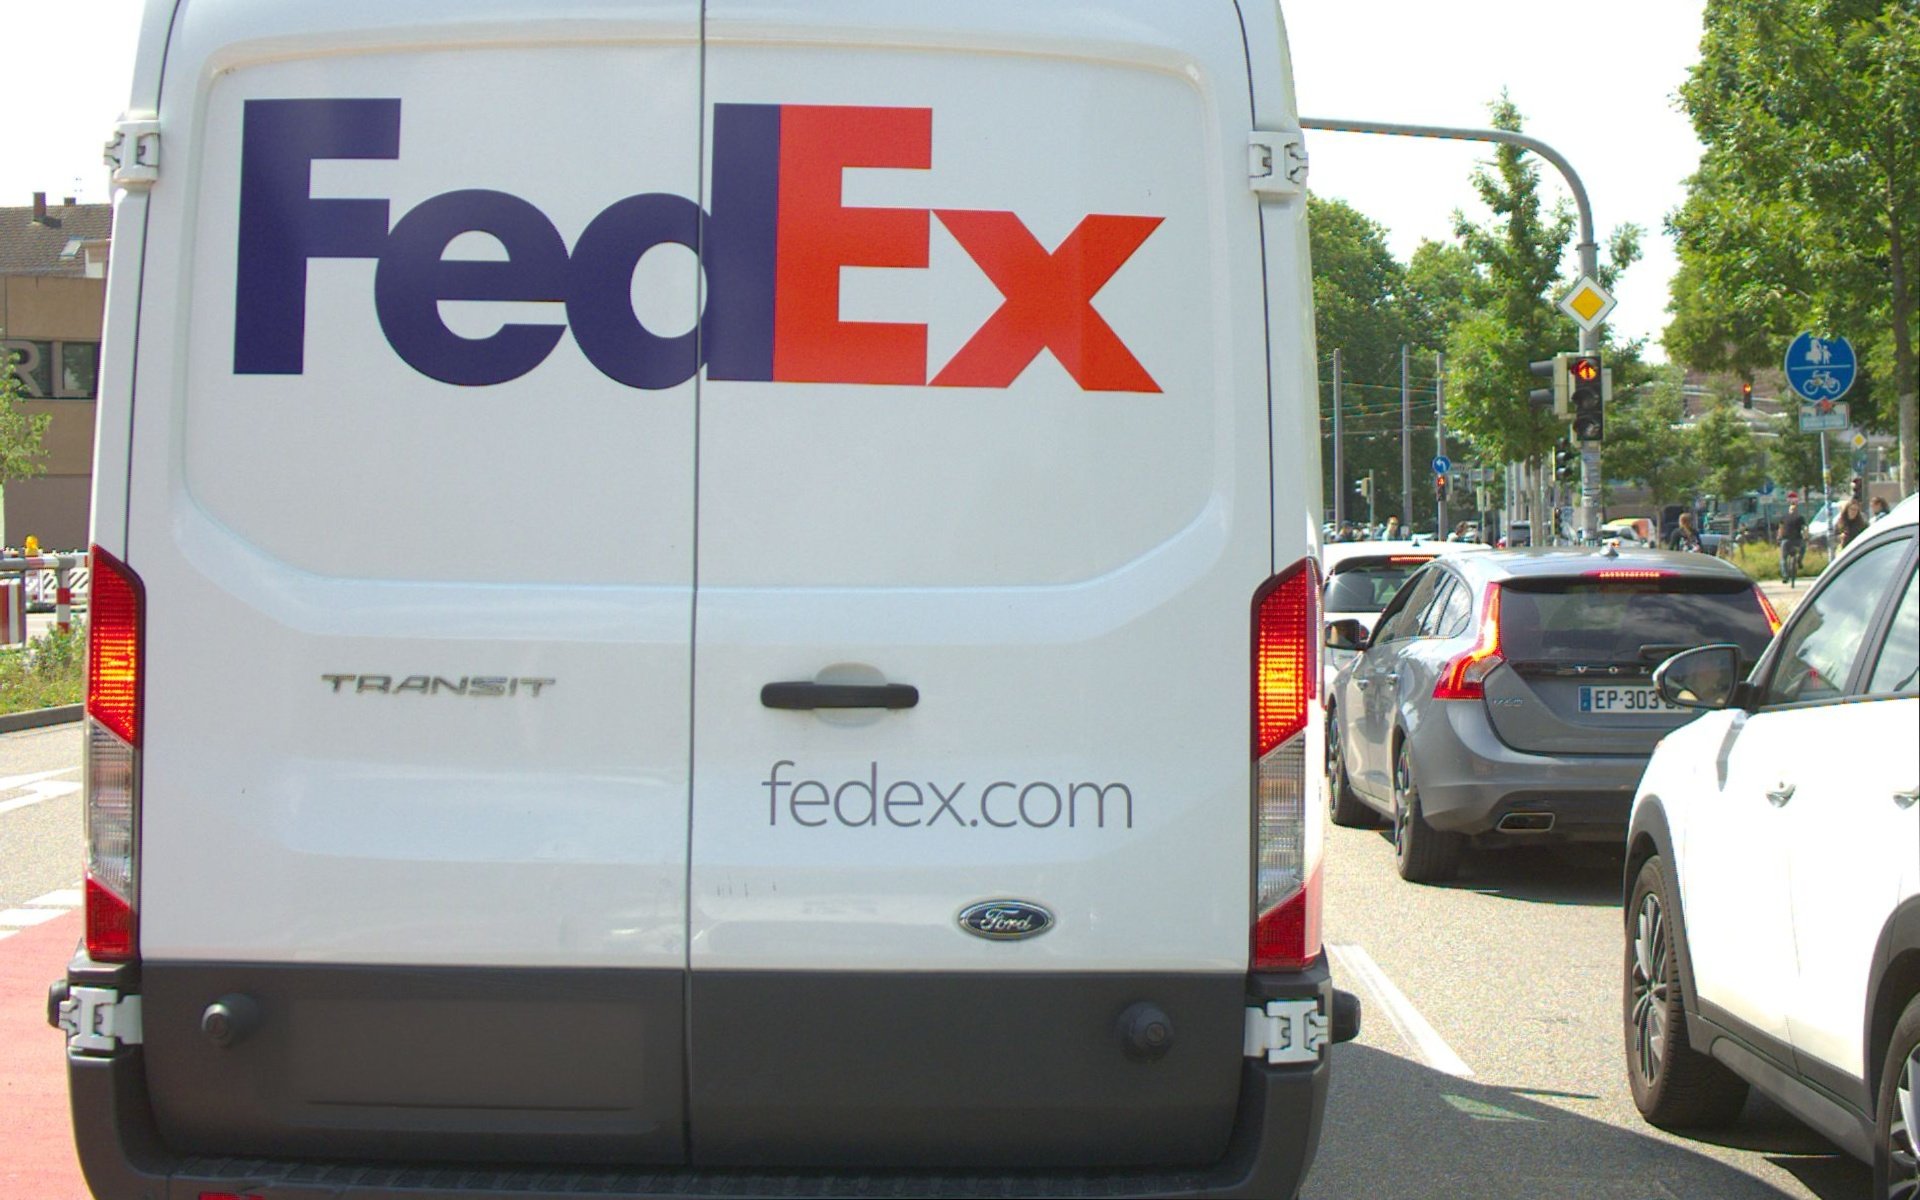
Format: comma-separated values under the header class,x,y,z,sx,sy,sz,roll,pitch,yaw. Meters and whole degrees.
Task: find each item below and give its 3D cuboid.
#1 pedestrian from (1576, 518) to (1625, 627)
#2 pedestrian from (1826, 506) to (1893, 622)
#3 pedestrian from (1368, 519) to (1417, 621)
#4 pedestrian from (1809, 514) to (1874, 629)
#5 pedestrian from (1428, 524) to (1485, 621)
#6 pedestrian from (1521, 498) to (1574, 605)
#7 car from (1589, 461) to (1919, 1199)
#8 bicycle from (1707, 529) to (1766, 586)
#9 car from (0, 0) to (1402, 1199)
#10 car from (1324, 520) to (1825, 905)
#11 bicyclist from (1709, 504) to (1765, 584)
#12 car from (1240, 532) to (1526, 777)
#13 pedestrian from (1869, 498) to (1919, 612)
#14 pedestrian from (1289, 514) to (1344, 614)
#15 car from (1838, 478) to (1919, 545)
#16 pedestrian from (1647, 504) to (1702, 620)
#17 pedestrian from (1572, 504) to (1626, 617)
class,x,y,z,sx,sy,sz,roll,pitch,yaw
pedestrian,11.002,-0.473,59.054,0.759,1.843,0.816,0,1,15
pedestrian,14.517,-0.590,55.472,0.758,1.843,0.816,-1,1,-10
pedestrian,7.940,-0.554,63.152,0.758,1.843,0.816,-1,1,-3
pedestrian,12.862,-0.426,50.188,0.759,1.649,0.816,-1,1,3
pedestrian,9.540,-0.537,66.028,0.758,1.843,0.816,-1,1,-22
pedestrian,10.236,-0.848,59.956,0.813,1.843,0.761,0,1,3
car,2.562,0.557,7.200,1.814,1.673,3.974,0,1,1
bicycle,21.341,-1.181,94.391,1.426,1.459,4.308,0,2,15
car,-0.367,0.070,7.186,2.072,2.572,4.428,0,1,1
car,2.695,0.414,15.834,1.691,1.543,3.720,0,1,1
bicyclist,21.311,-1.554,94.273,1.433,2.164,1.338,0,1,15
car,2.716,0.298,22.643,1.499,1.459,3.474,0,1,1
pedestrian,15.341,-0.735,56.020,0.758,1.843,0.816,-1,1,-8
pedestrian,6.657,-0.684,64.206,0.758,1.843,0.816,-1,1,-16
car,40.518,-3.666,143.705,7.059,2.708,2.497,1,0,-14
pedestrian,11.390,-0.609,54.772,0.759,1.843,0.815,0,1,18
pedestrian,10.545,-0.652,56.694,0.759,1.843,0.815,0,1,18
